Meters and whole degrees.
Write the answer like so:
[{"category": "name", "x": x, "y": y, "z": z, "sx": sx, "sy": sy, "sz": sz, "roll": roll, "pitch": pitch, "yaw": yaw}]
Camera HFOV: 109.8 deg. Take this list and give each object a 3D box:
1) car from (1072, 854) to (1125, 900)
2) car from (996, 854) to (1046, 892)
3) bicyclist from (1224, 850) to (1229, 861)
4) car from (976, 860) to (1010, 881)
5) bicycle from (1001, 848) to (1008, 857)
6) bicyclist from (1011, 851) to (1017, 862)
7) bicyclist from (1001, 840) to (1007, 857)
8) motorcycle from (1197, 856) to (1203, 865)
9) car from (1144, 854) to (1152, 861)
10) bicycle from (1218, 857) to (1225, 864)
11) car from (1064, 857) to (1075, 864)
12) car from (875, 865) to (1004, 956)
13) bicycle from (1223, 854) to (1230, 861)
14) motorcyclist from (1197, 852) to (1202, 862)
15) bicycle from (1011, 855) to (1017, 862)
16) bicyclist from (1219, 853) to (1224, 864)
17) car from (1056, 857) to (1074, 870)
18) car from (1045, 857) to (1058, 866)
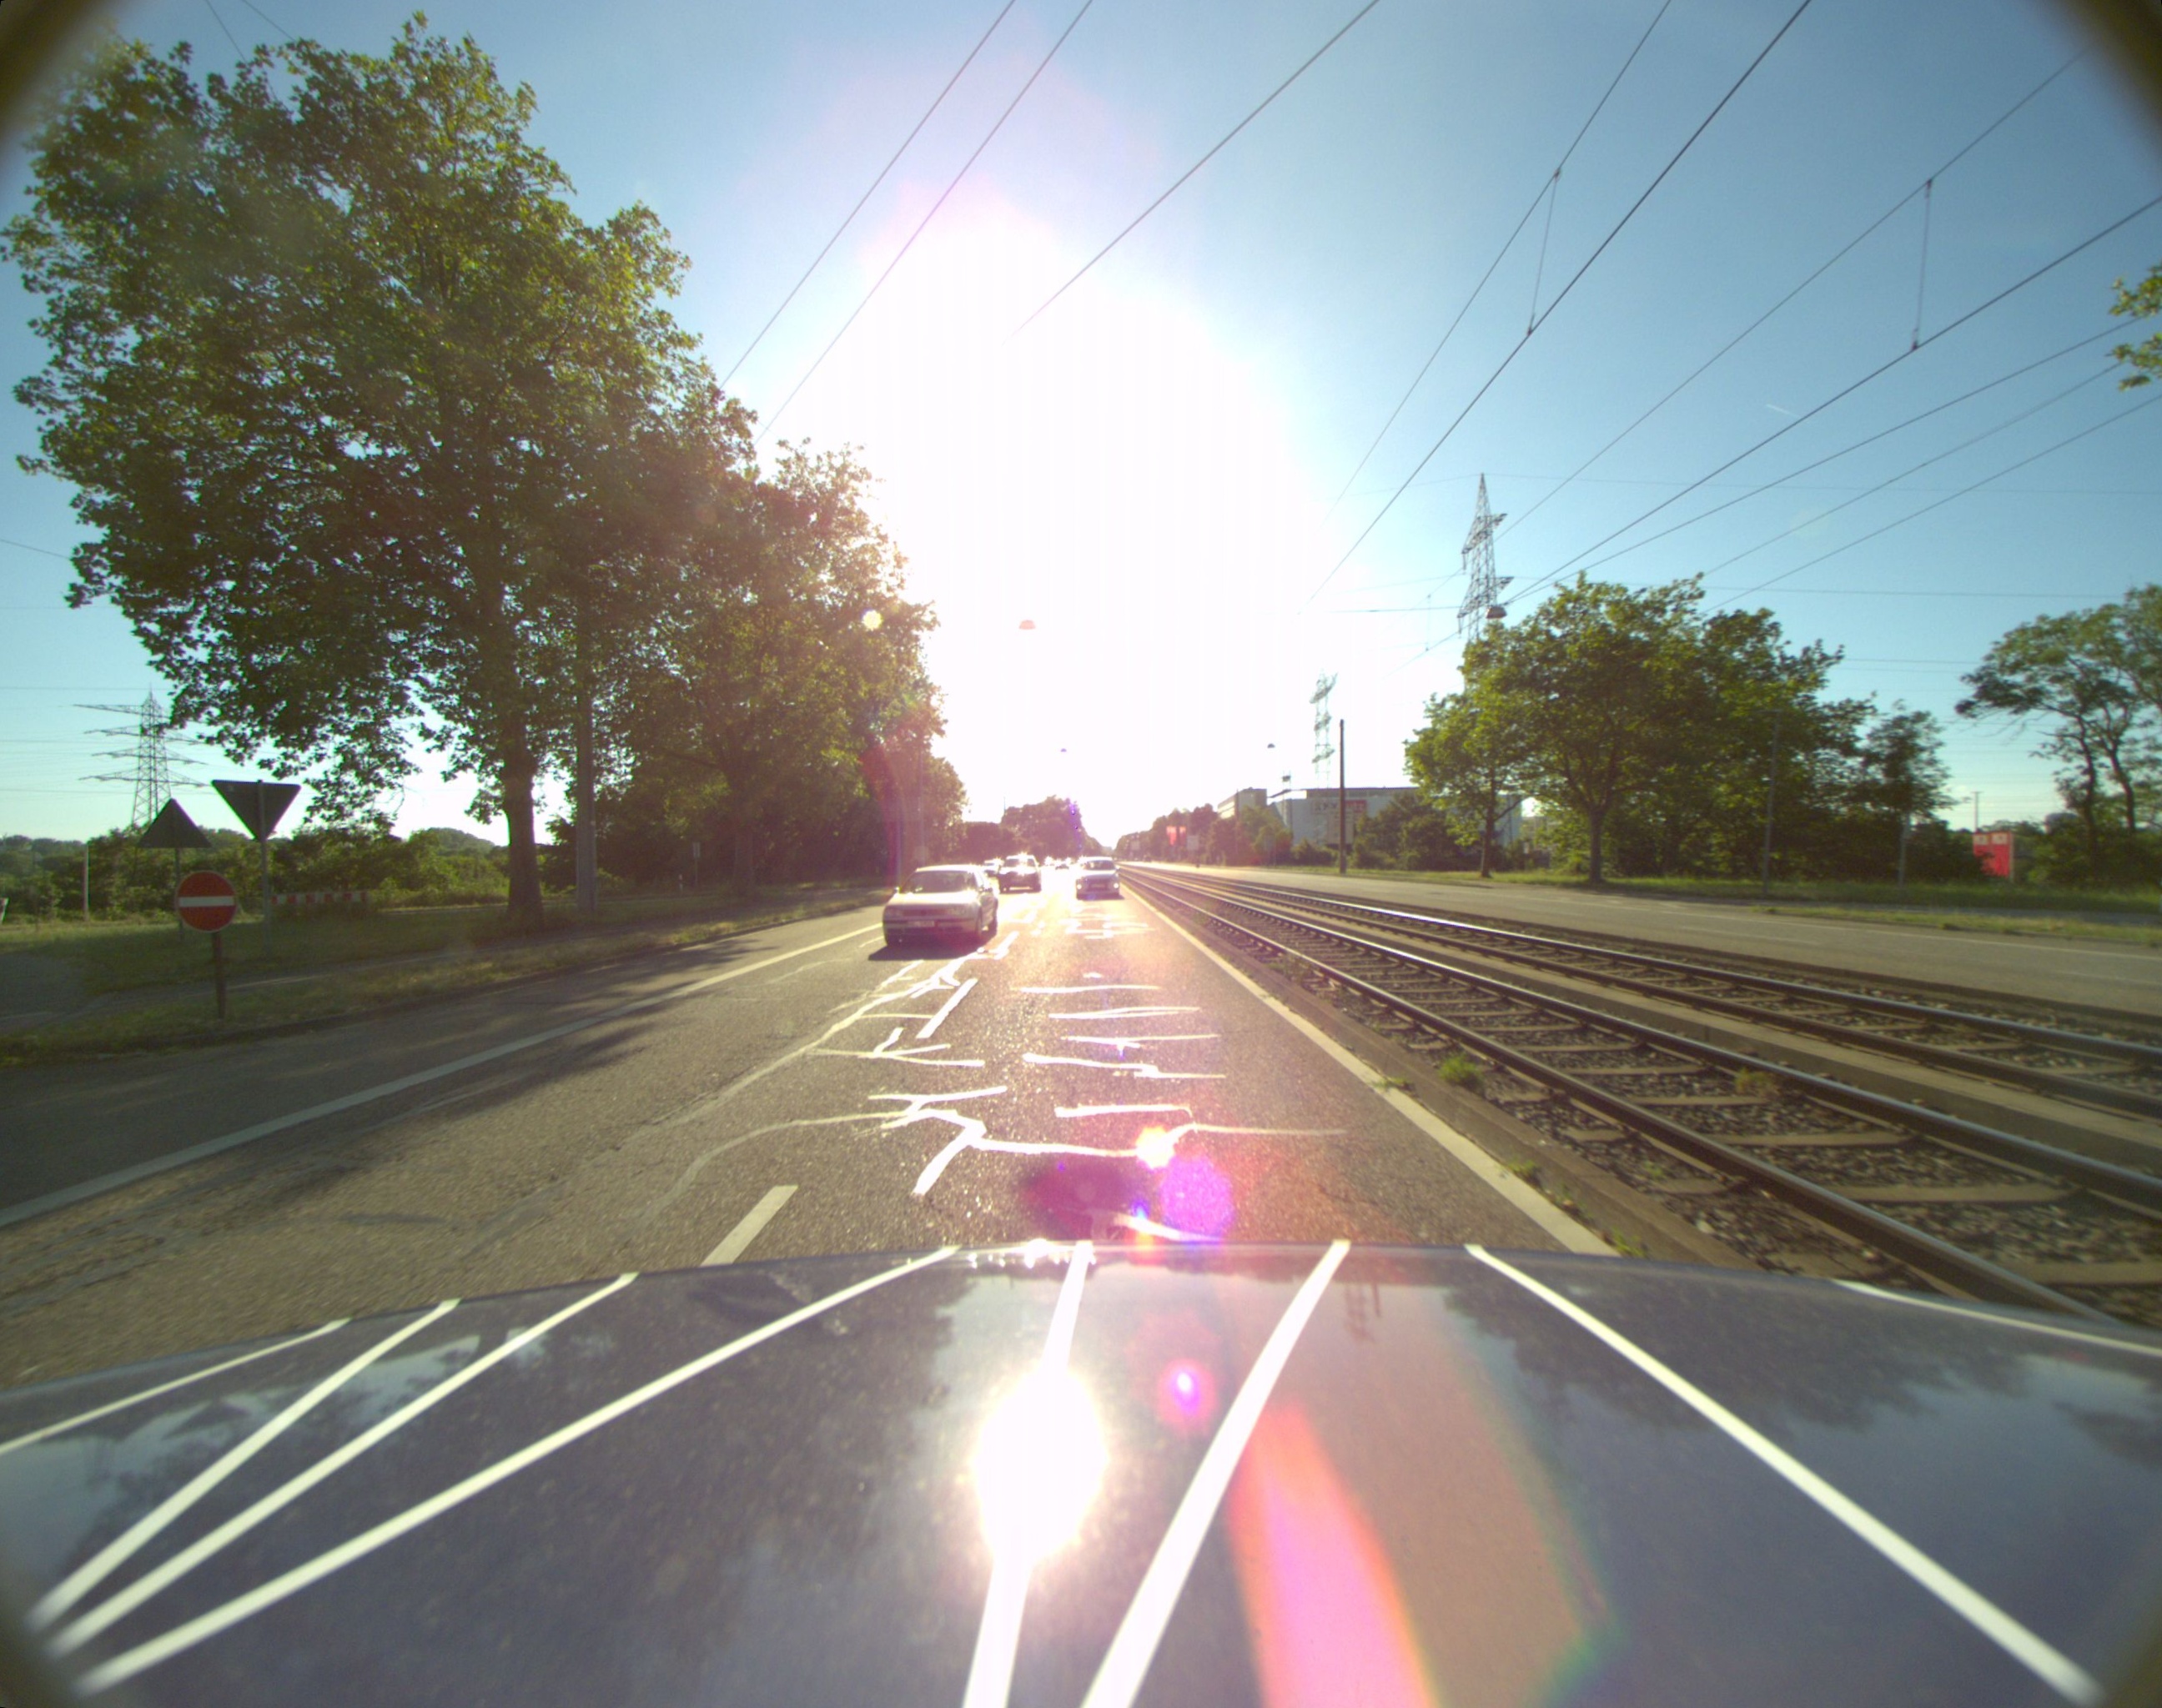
[{"category": "car", "x": 0.723, "y": 0.825, "z": 29.657, "sx": 1.881, "sy": 1.591, "sz": 4.417, "roll": -1, "pitch": 1, "yaw": 2}, {"category": "car", "x": -2.806, "y": 0.855, "z": 36.469, "sx": 1.881, "sy": 1.591, "sz": 4.417, "roll": -1, "pitch": 1, "yaw": 2}, {"category": "bicyclist", "x": 21.557, "y": 0.225, "z": 112.590, "sx": 0.591, "sy": 1.519, "sz": 0.906, "roll": -1, "pitch": 1, "yaw": 0}, {"category": "car", "x": -6.908, "y": 1.262, "z": 60.309, "sx": 1.881, "sy": 1.435, "sz": 4.660, "roll": -1, "pitch": 1, "yaw": 3}, {"category": "bicycle", "x": -9.023, "y": -0.141, "z": 89.179, "sx": 0.528, "sy": 1.054, "sz": 1.972, "roll": -3, "pitch": 0, "yaw": 2}, {"category": "bicyclist", "x": -8.913, "y": 0.305, "z": 101.636, "sx": 0.628, "sy": 1.463, "sz": 1.060, "roll": 3, "pitch": 1, "yaw": 3}, {"category": "bicyclist", "x": -9.038, "y": -0.620, "z": 89.449, "sx": 0.528, "sy": 2.005, "sz": 0.729, "roll": -3, "pitch": 1, "yaw": 2}, {"category": "motorcycle", "x": 15.727, "y": 0.817, "z": 100.573, "sx": 0.537, "sy": 1.084, "sz": 1.902, "roll": -3, "pitch": 1, "yaw": 0}, {"category": "car", "x": 18.174, "y": 1.020, "z": 206.069, "sx": 1.998, "sy": 1.911, "sz": 4.862, "roll": 0, "pitch": -1, "yaw": 2}, {"category": "bicycle", "x": 20.670, "y": 0.988, "z": 111.765, "sx": 0.591, "sy": 1.016, "sz": 2.185, "roll": -1, "pitch": 1, "yaw": 0}, {"category": "car", "x": -2.318, "y": 1.302, "z": 156.555, "sx": 1.880, "sy": 1.449, "sz": 4.417, "roll": -1, "pitch": 1, "yaw": 4}, {"category": "car", "x": -2.644, "y": 0.997, "z": 15.101, "sx": 1.695, "sy": 1.437, "sz": 4.001, "roll": -1, "pitch": 1, "yaw": 1}, {"category": "bicycle", "x": 21.560, "y": 0.498, "z": 112.649, "sx": 0.591, "sy": 1.016, "sz": 2.185, "roll": -1, "pitch": 1, "yaw": 0}, {"category": "motorcyclist", "x": 15.707, "y": 0.350, "z": 100.516, "sx": 0.537, "sy": 1.263, "sz": 0.805, "roll": -3, "pitch": 1, "yaw": 0}, {"category": "bicycle", "x": -8.932, "y": 0.634, "z": 101.446, "sx": 0.628, "sy": 0.829, "sz": 1.635, "roll": 3, "pitch": 1, "yaw": 3}, {"category": "bicyclist", "x": 20.662, "y": 0.689, "z": 111.663, "sx": 0.591, "sy": 1.601, "sz": 0.967, "roll": -1, "pitch": 1, "yaw": 0}, {"category": "car", "x": -1.979, "y": 1.188, "z": 94.010, "sx": 1.881, "sy": 1.449, "sz": 4.417, "roll": -1, "pitch": 1, "yaw": 2}, {"category": "car", "x": -5.336, "y": 1.339, "z": 139.616, "sx": 1.880, "sy": 1.449, "sz": 4.417, "roll": -1, "pitch": 1, "yaw": 4}]
